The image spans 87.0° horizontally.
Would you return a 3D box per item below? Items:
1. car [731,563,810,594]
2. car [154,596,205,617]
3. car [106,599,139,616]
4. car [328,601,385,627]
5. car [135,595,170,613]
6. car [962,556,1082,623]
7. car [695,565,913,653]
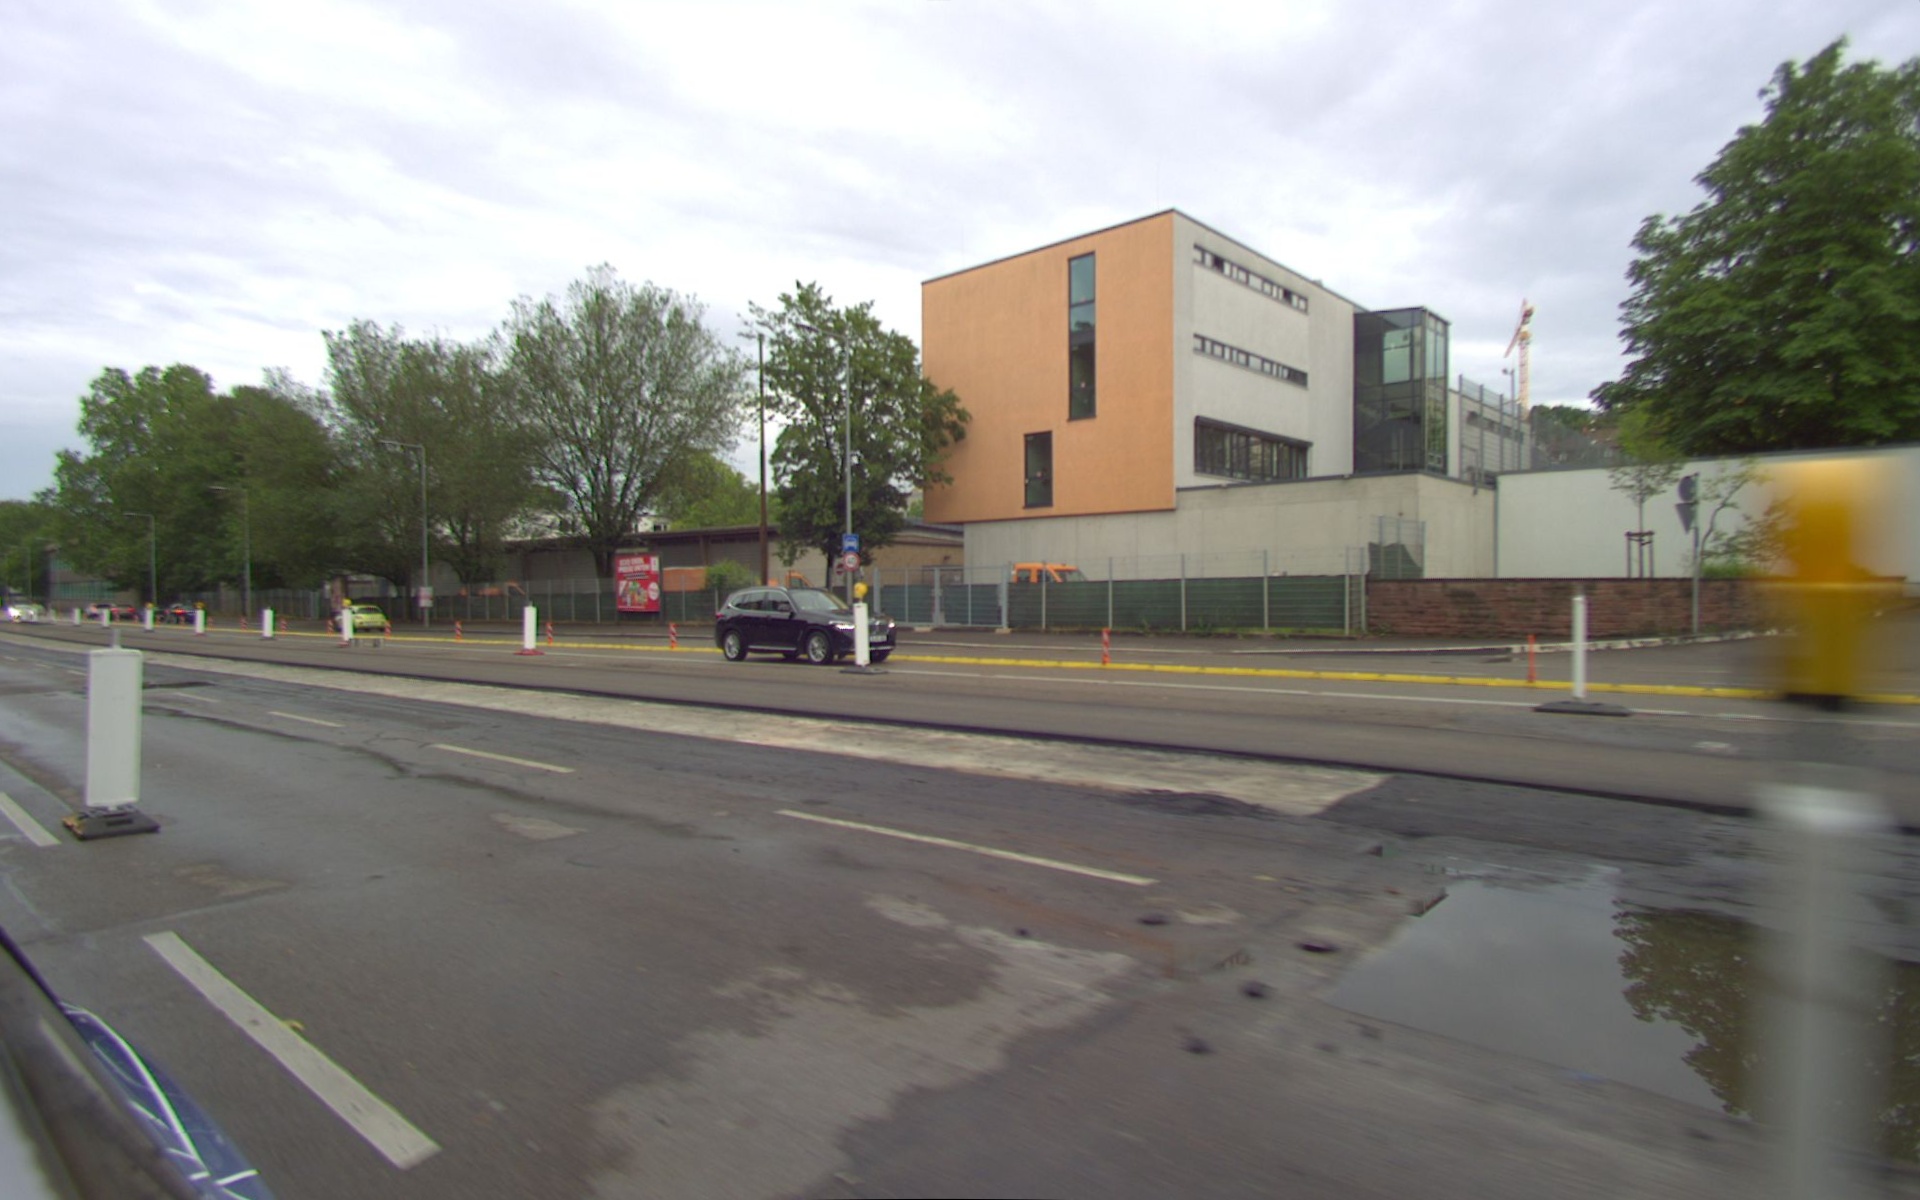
[{"bbox_3d":[-9.896,-1.129,52.813,3.957,1.539,2.005,-1,1,-11],"label":"car"},{"bbox_3d":[-63.324,0.561,82.114,4.313,1.642,1.845,0,-1,31],"label":"car"},{"bbox_3d":[-81.724,0.713,98.739,4.363,1.631,1.839,0,-1,41],"label":"car"},{"bbox_3d":[-32.983,0.763,55.273,3.802,1.378,1.537,-1,-1,41],"label":"car"},{"bbox_3d":[-71.786,0.357,89.932,3.730,1.487,1.839,0,-1,41],"label":"car"},{"bbox_3d":[2.108,-0.345,35.260,3.997,2.187,1.594,-1,0,40],"label":"car"},{"bbox_3d":[-3.514,0.237,22.168,4.980,1.719,1.973,-1,-2,41],"label":"car"}]
